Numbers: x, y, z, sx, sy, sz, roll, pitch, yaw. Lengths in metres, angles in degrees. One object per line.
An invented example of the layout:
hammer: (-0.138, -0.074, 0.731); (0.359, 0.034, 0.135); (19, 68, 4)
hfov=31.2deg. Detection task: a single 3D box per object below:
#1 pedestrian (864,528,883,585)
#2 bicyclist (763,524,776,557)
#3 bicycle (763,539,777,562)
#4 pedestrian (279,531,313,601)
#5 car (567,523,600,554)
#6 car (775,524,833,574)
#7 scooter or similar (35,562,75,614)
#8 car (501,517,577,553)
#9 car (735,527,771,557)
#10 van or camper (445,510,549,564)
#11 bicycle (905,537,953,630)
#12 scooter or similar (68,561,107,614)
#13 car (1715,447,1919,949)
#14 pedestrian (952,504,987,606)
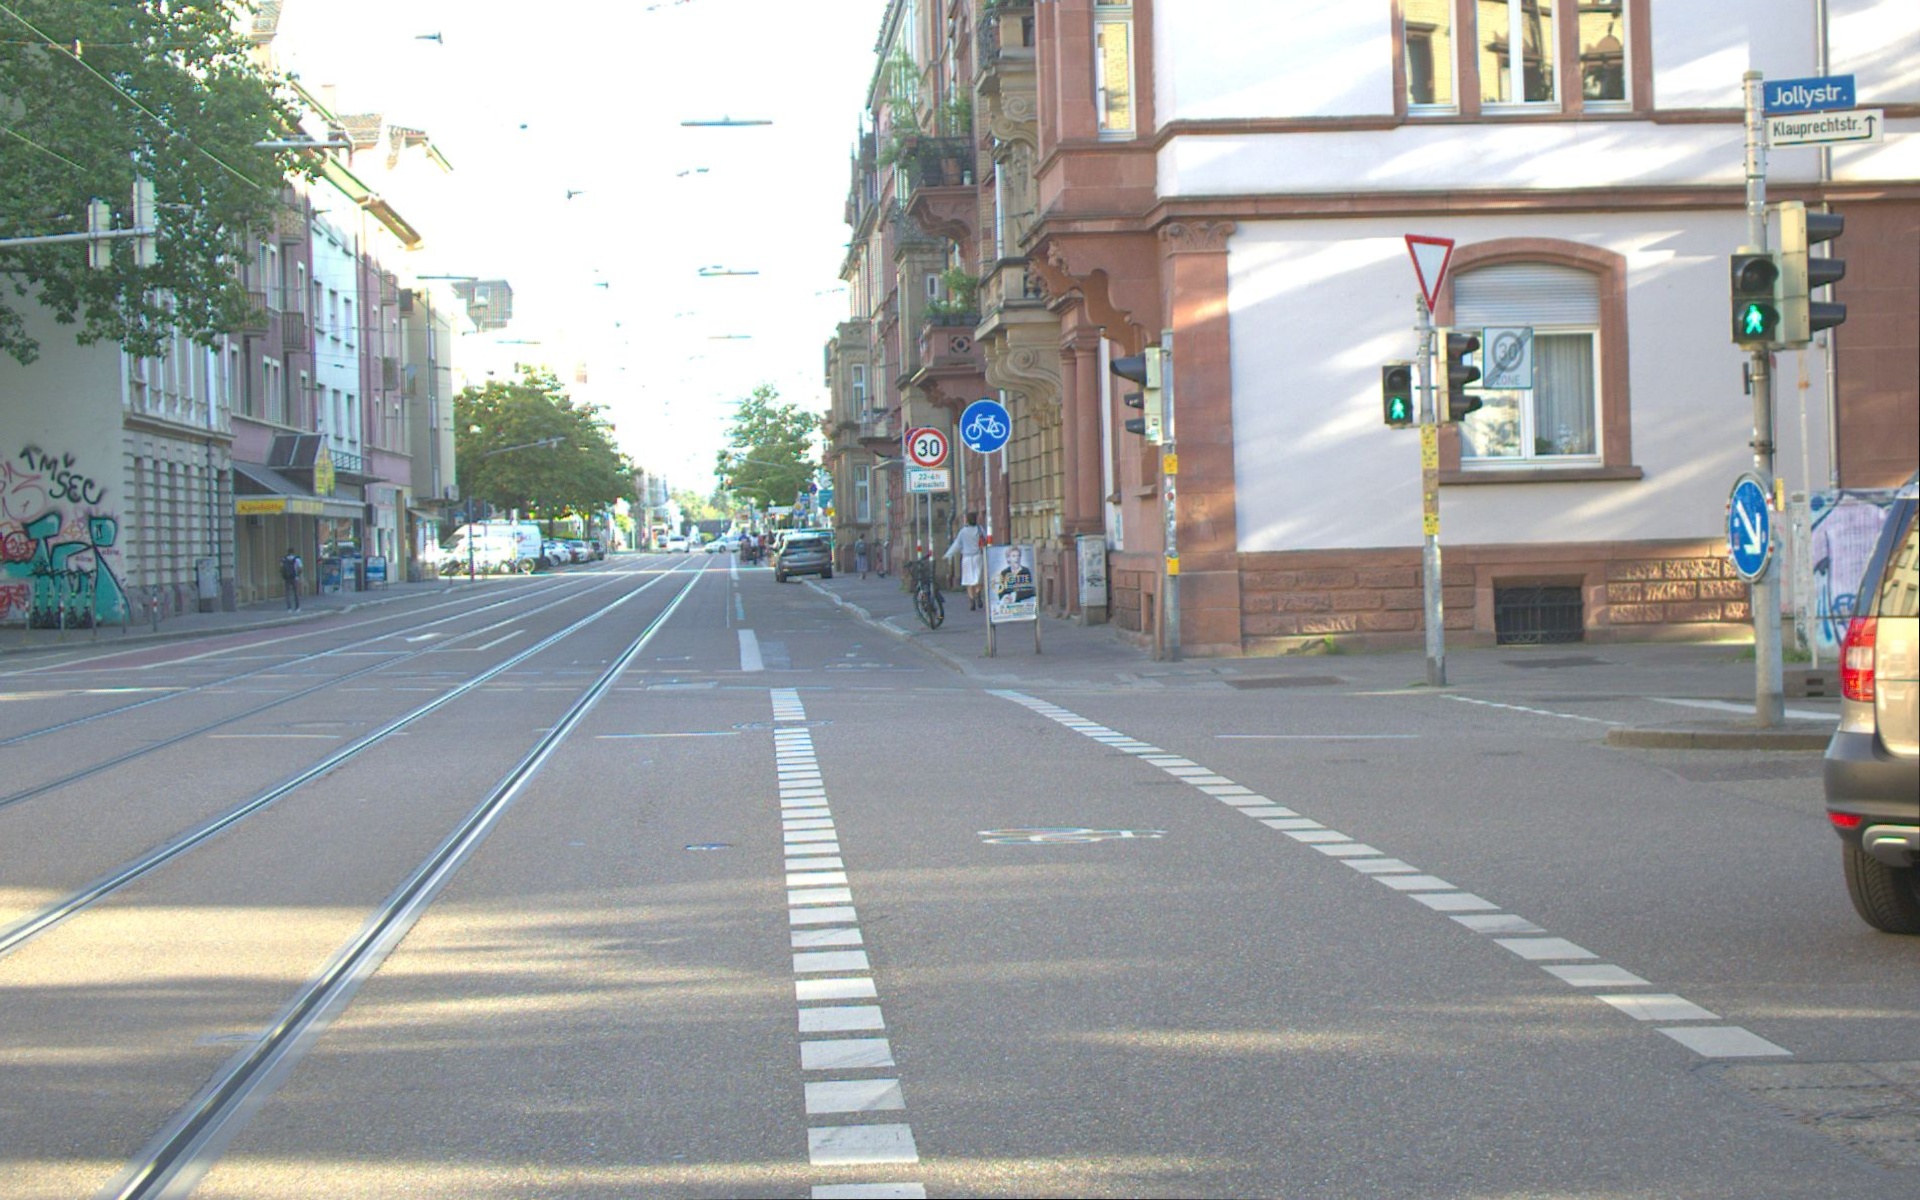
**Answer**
pedestrian: (-2.736, -1.380, 108.598); (0.544, 1.774, 0.749); (-2, 1, -3)
bicyclist: (-8.912, -2.782, 160.941); (0.575, 1.548, 0.595); (-2, 1, -2)
bicycle: (-8.898, -2.327, 160.954); (0.575, 1.026, 1.895); (-2, 1, -2)
pedestrian: (-16.480, -0.850, 85.374); (0.701, 1.722, 0.648); (-2, 1, -3)
car: (-25.326, -4.130, 231.152); (1.993, 2.007, 4.001); (-2, 1, -4)
car: (-5.428, -1.787, 119.918); (1.950, 1.678, 4.001); (-2, 1, -2)
scooter or similar: (-18.499, -0.249, 70.293); (0.516, 1.042, 1.479); (-2, 1, -5)
car: (-25.009, -3.853, 204.344); (3.987, 2.007, 2.000); (-2, 1, -28)
car: (-12.055, -3.362, 200.069); (1.993, 1.722, 4.001); (-1, 1, -4)
van or camper: (-22.764, -3.097, 169.233); (4.635, 2.554, 2.000); (-1, 1, -34)
bicycle: (-0.470, -0.253, 50.733); (0.653, 1.319, 2.177); (-2, 1, -1)
scooter or similar: (-17.848, -0.267, 70.365); (0.516, 1.053, 1.479); (-2, 1, -5)
car: (4.640, 0.327, 12.327); (1.999, 1.612, 3.990); (2, 1, 43)
pedestrian: (0.174, -0.787, 60.406); (0.544, 1.774, 0.504); (-2, 1, -3)
